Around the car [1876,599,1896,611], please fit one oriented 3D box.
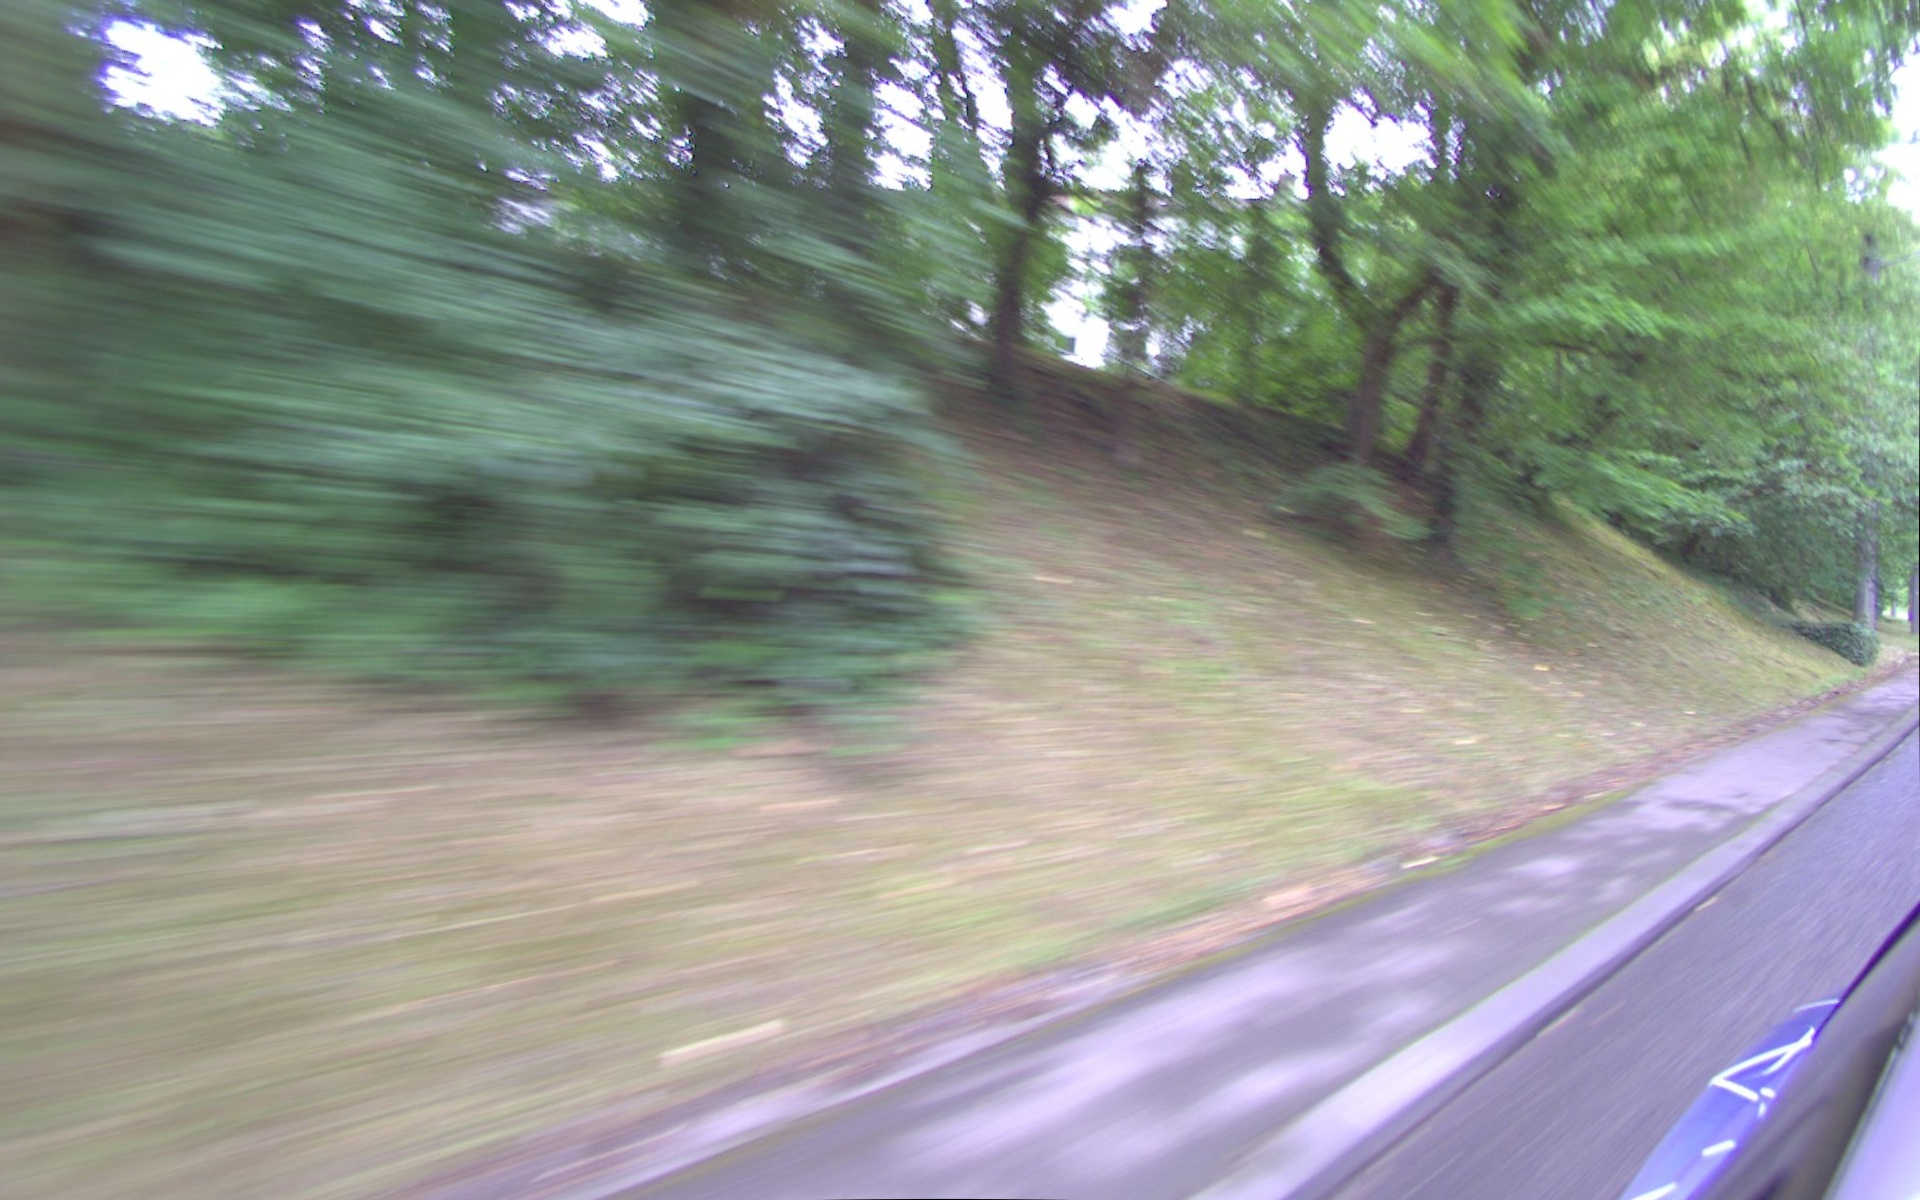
[{"bbox_3d":[129.085,0.687,141.057,2.028,1.527,4.526,0,1,42],"label":"car"}]
